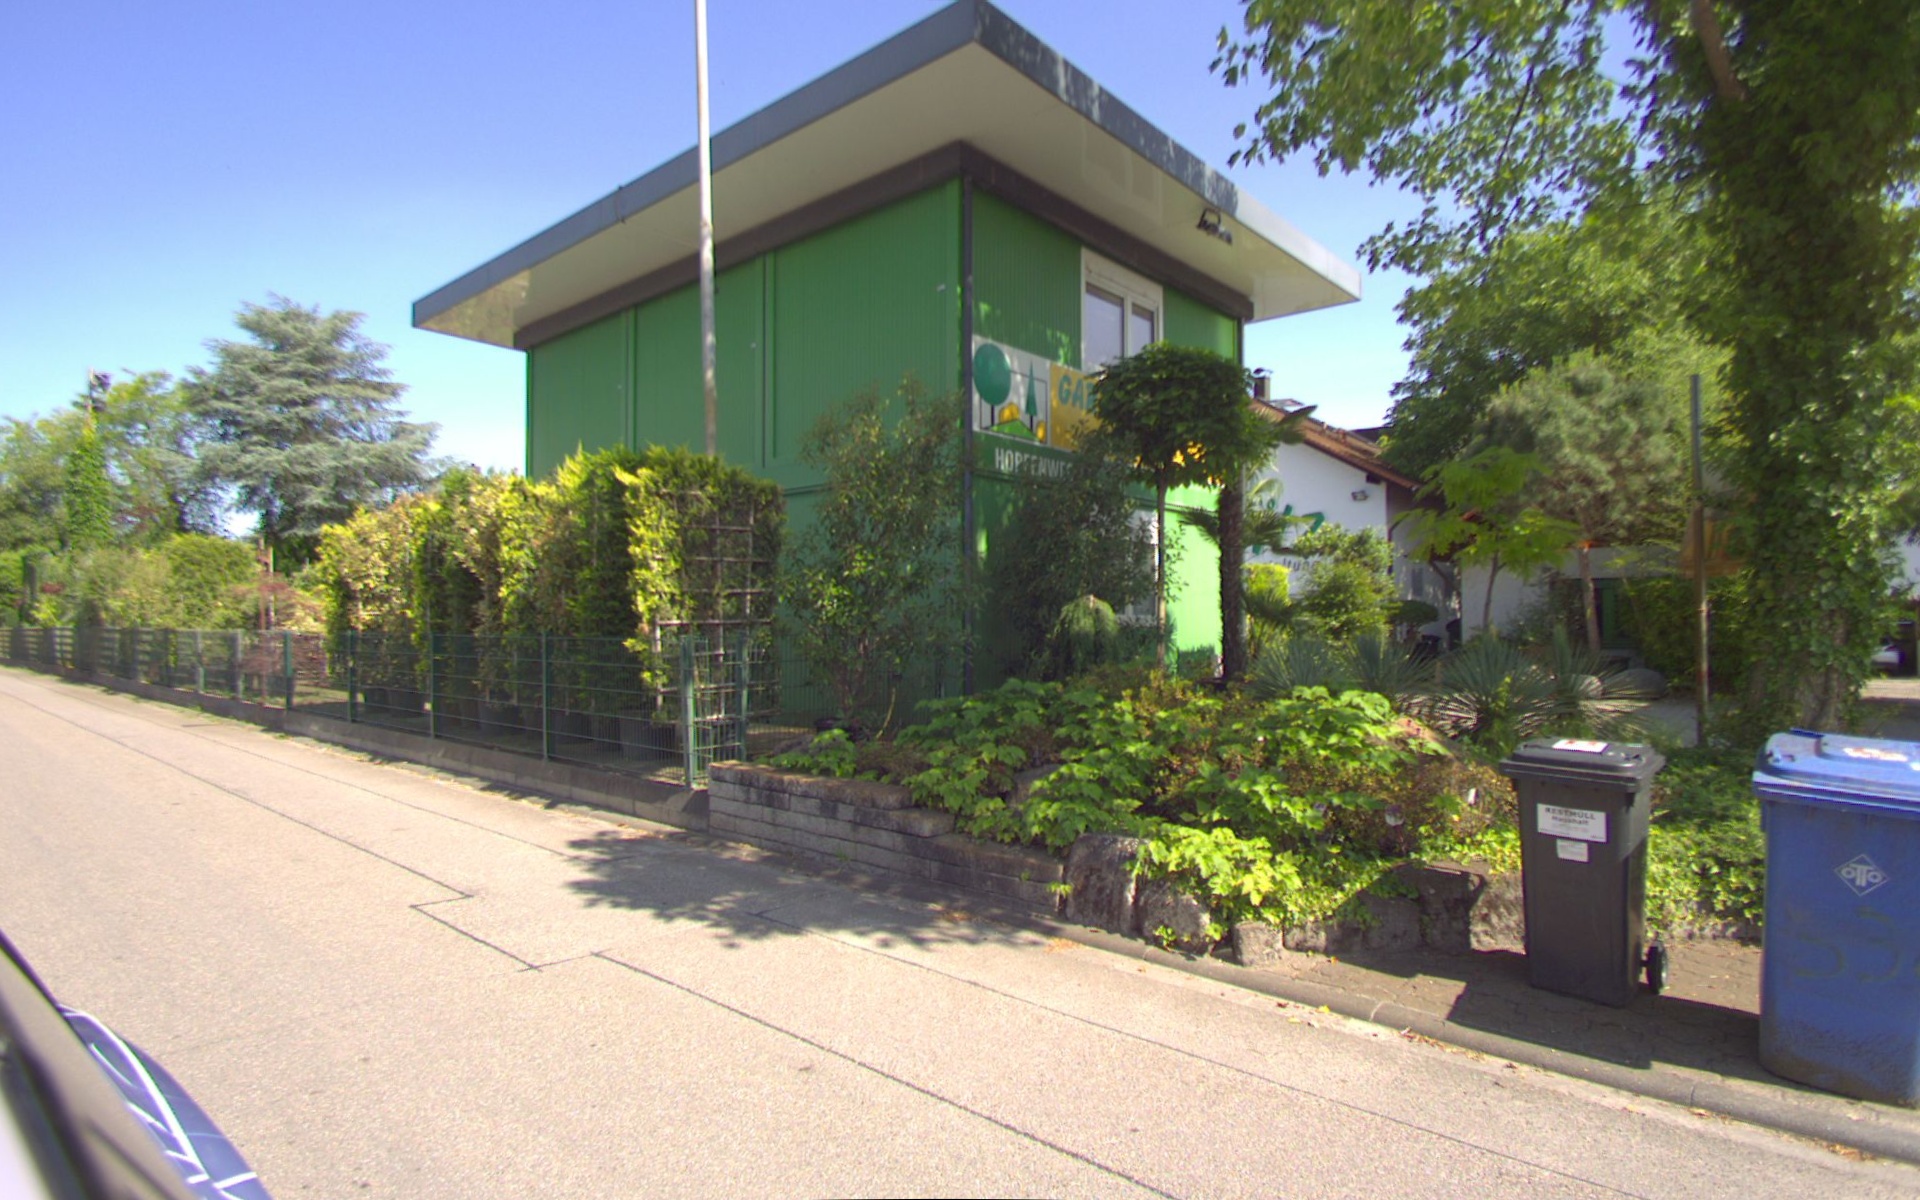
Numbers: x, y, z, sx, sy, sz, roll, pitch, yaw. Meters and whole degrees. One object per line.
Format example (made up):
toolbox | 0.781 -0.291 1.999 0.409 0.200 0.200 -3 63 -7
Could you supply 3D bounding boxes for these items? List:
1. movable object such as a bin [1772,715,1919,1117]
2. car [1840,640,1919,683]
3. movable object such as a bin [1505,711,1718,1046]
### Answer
movable object such as a bin | 2.972 0.943 3.169 0.612 1.062 0.723 -2 -1 42
car | 33.597 2.191 36.915 3.940 1.453 1.904 2 -3 -44
movable object such as a bin | 2.441 0.974 3.787 0.568 1.032 0.576 -2 -1 42
